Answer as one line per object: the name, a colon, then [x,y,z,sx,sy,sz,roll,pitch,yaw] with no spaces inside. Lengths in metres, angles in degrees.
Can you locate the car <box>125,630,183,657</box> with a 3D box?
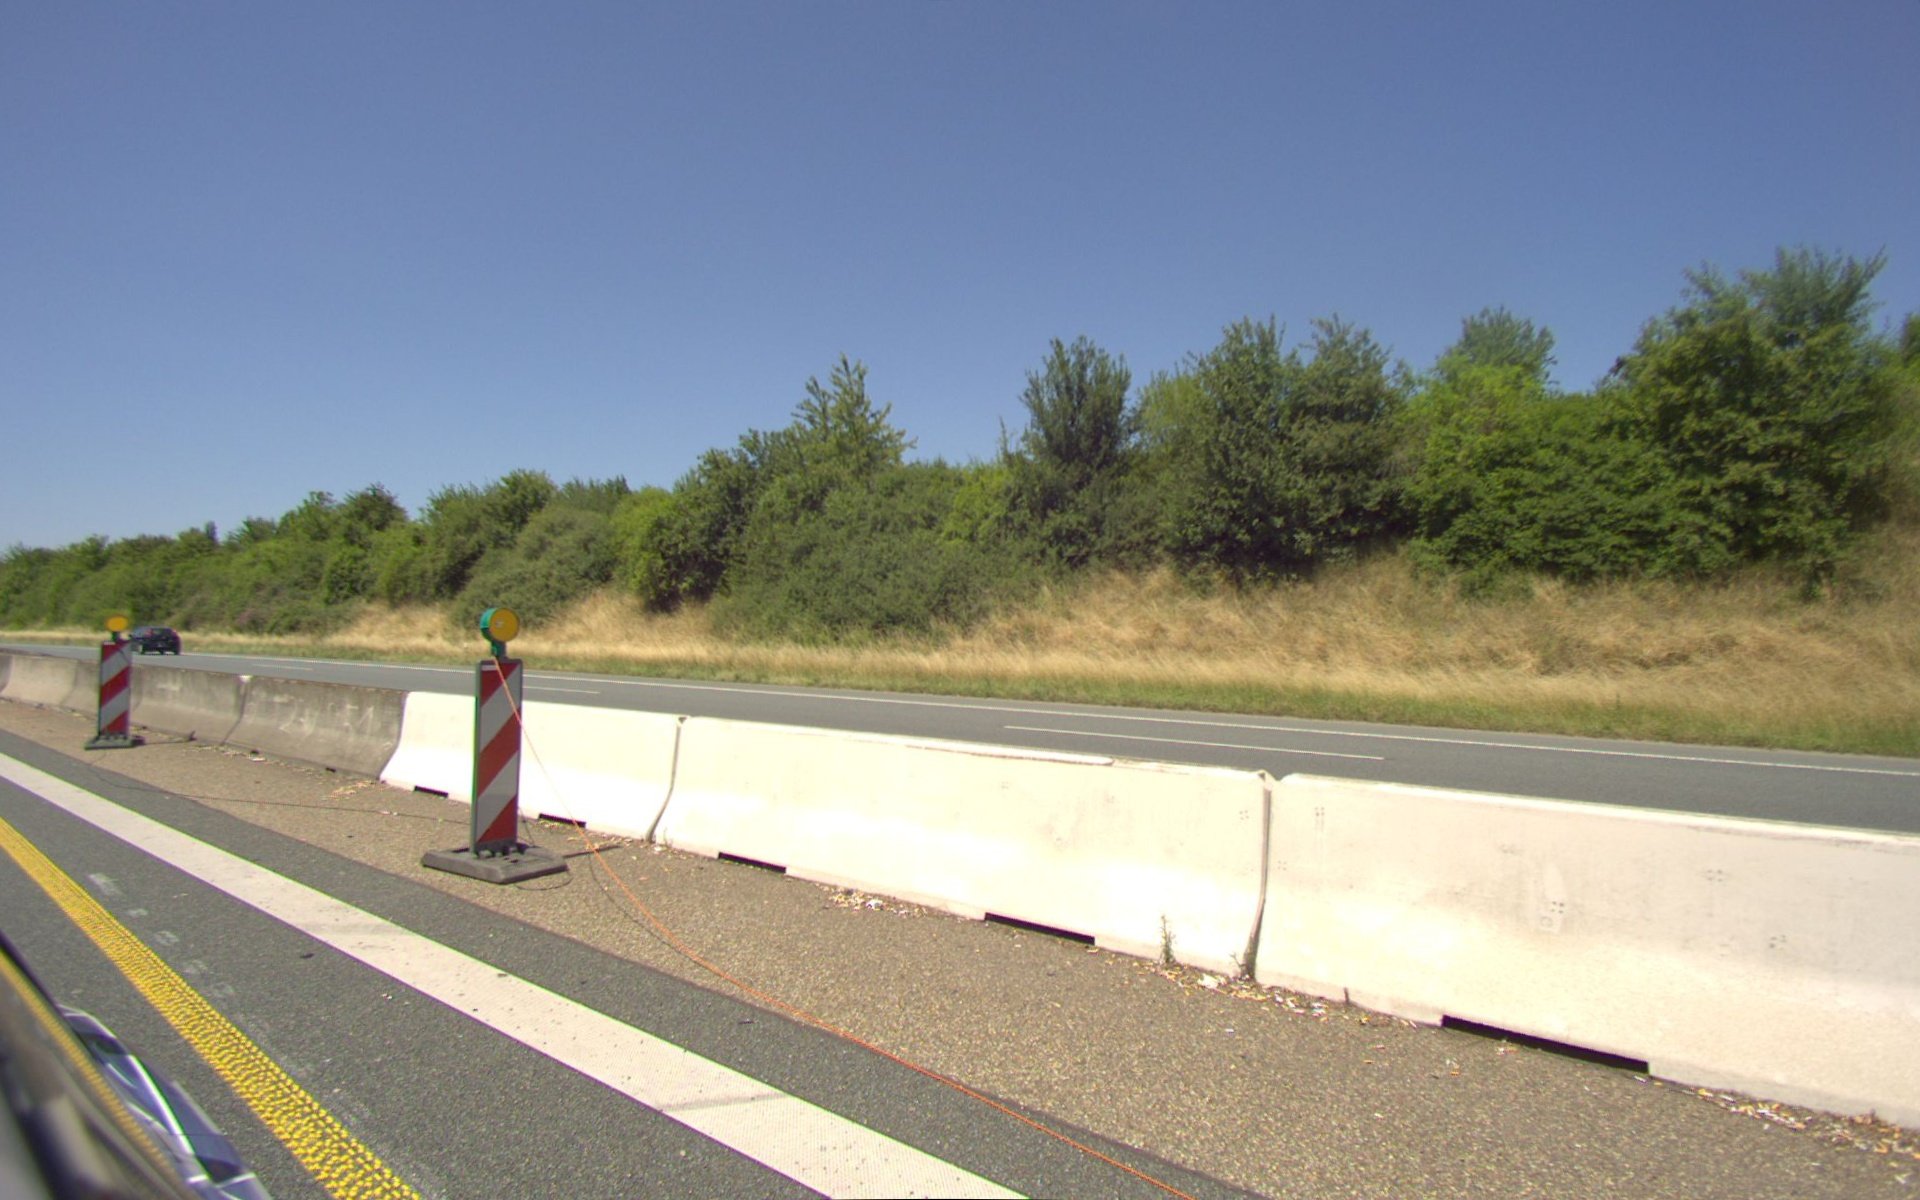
car: [-42.082,2.250,52.824,3.511,1.364,1.748,-1,-3,41]
